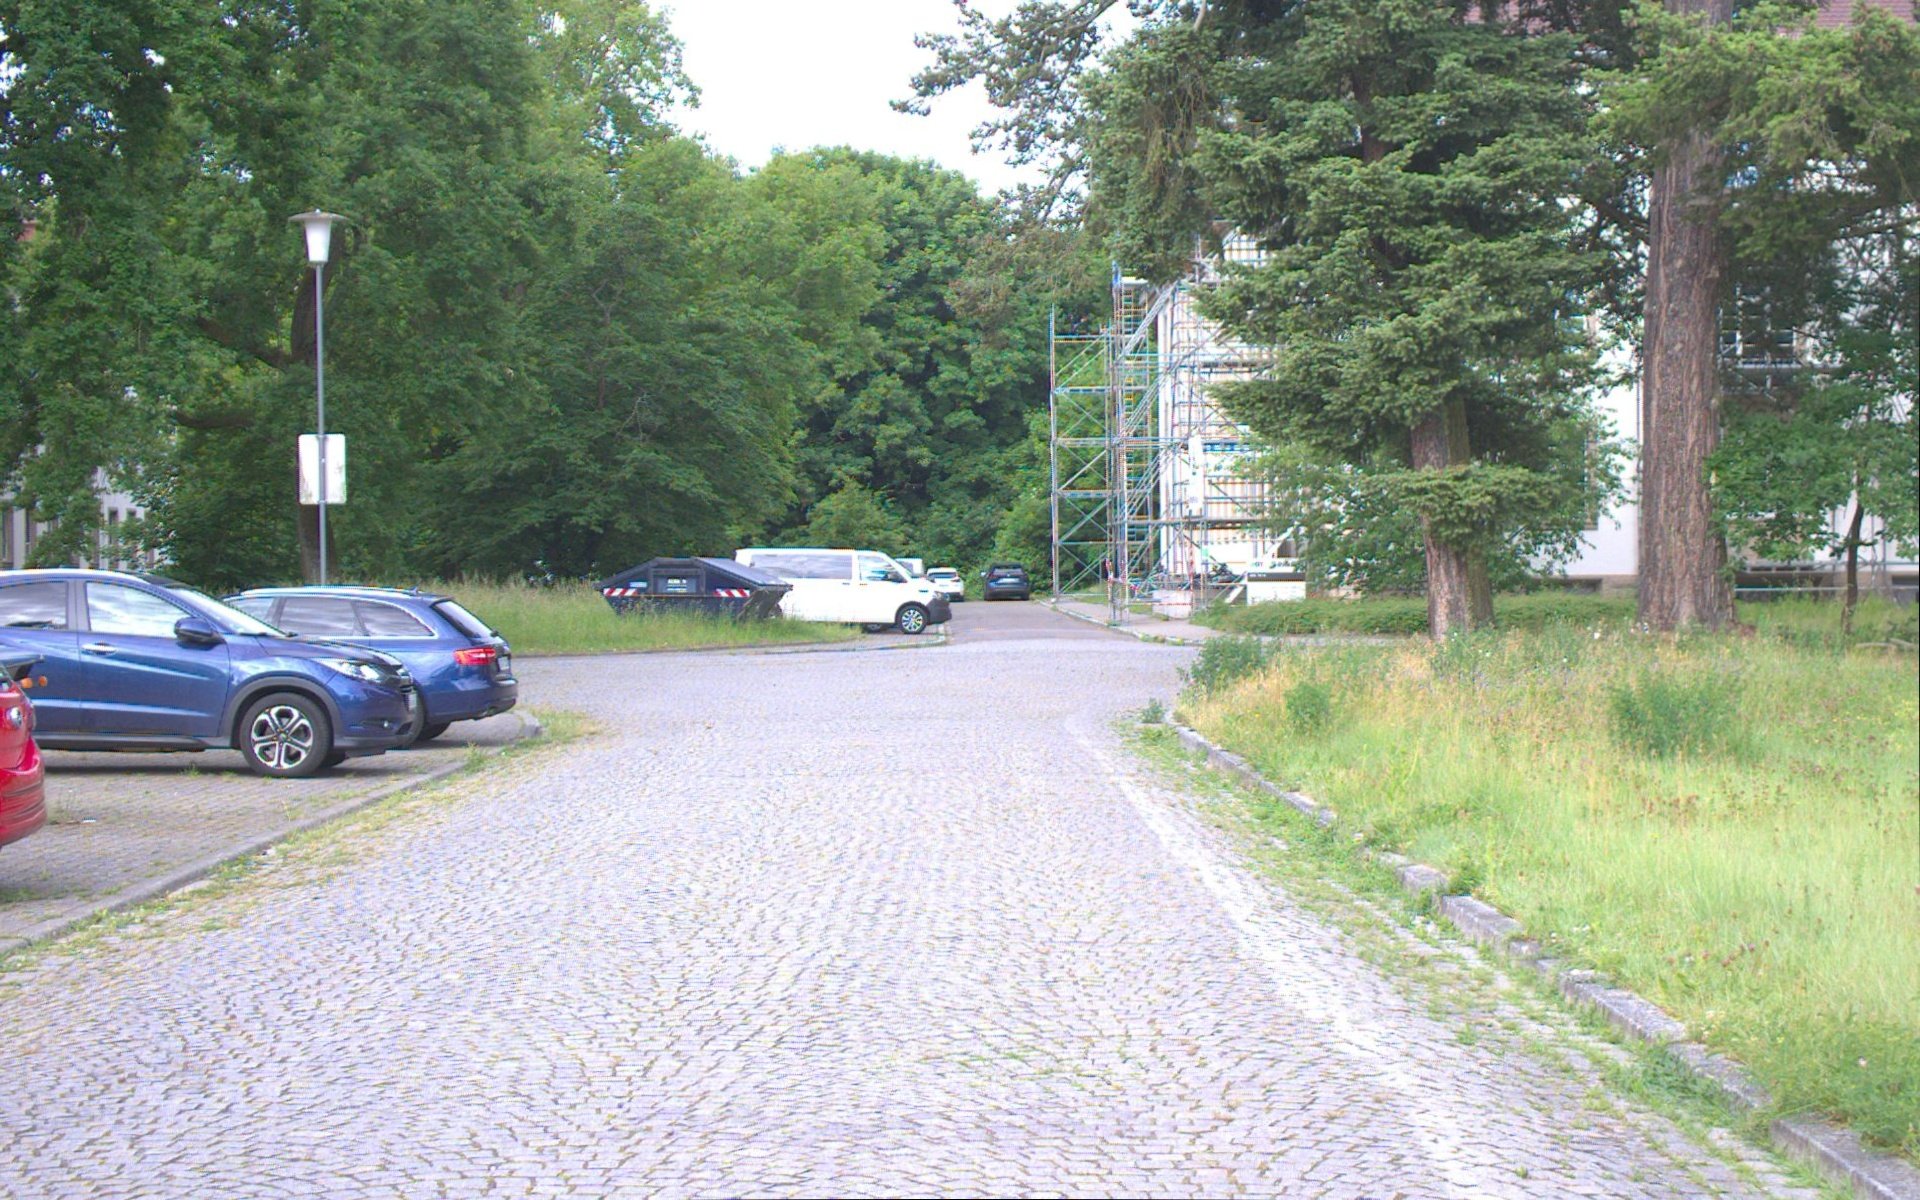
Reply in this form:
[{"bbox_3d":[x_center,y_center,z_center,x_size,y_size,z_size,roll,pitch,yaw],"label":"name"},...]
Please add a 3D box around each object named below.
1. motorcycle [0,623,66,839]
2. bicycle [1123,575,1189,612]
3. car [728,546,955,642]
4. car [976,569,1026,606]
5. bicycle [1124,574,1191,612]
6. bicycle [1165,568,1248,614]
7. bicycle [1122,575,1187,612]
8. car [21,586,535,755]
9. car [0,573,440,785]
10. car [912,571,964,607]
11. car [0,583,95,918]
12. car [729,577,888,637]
[{"bbox_3d":[-6.732,0.780,21.128,2.274,1.287,0.719,1,0,1],"label":"motorcycle"},{"bbox_3d":[6.735,-0.239,118.370,2.240,1.250,0.698,-1,0,2],"label":"bicycle"},{"bbox_3d":[-2.780,-0.138,80.442,5.234,2.160,2.000,-1,0,-2],"label":"car"},{"bbox_3d":[1.724,-0.525,146.736,1.951,1.516,4.000,-1,0,-2],"label":"car"},{"bbox_3d":[6.720,-0.238,116.853,2.240,1.250,0.627,-1,0,2],"label":"bicycle"},{"bbox_3d":[6.827,-0.260,95.315,2.240,1.250,0.777,-1,0,2],"label":"bicycle"},{"bbox_3d":[6.735,-0.239,119.215,2.240,1.250,0.634,-1,0,2],"label":"bicycle"},{"bbox_3d":[-6.202,0.621,31.621,4.303,1.456,1.975,0,1,1],"label":"car"},{"bbox_3d":[-6.311,0.587,26.888,4.228,1.572,1.887,0,1,-2],"label":"car"},{"bbox_3d":[-0.952,-0.477,146.440,2.118,1.516,4.000,-1,0,-1],"label":"car"},{"bbox_3d":[-6.451,0.712,16.651,4.054,1.520,1.905,-1,1,-2],"label":"car"},{"bbox_3d":[-3.658,0.164,83.036,3.788,1.390,2.000,-1,0,-3],"label":"car"}]
